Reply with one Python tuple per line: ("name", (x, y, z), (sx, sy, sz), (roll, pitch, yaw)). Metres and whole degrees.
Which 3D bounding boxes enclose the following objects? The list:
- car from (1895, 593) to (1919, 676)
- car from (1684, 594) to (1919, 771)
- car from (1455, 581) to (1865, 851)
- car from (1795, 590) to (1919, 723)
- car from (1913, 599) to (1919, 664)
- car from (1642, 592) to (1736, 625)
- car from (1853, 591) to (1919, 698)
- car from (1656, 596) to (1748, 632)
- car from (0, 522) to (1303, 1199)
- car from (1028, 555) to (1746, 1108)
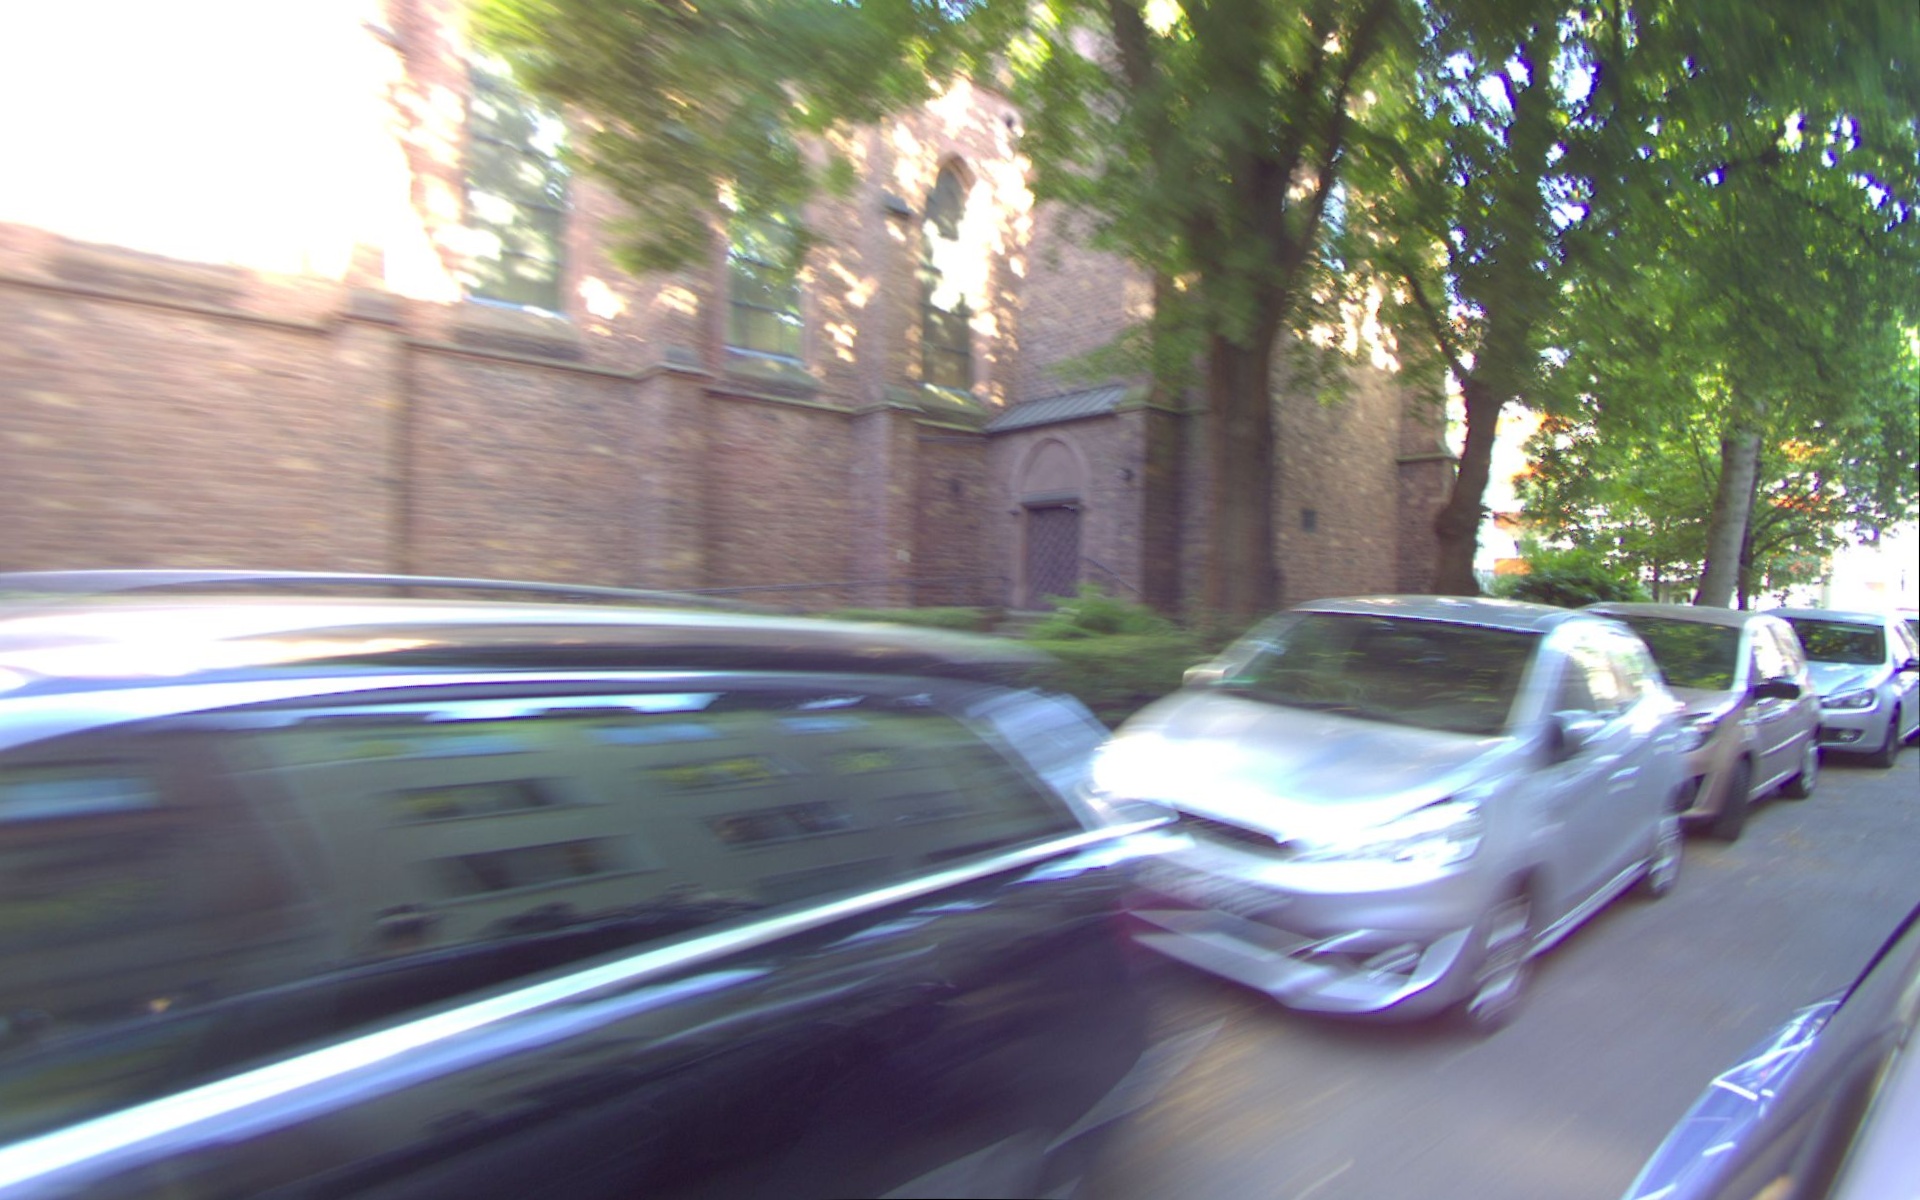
("car", (20.193, 0.713, 20.307), (3.884, 1.537, 1.668), (-1, 6, -42))
("car", (9.313, 0.725, 10.829), (3.800, 1.488, 1.603), (-1, 3, -40))
("car", (5.437, 0.667, 7.728), (3.500, 1.485, 1.604), (-1, 5, -40))
("car", (13.031, 0.702, 13.947), (3.654, 1.523, 1.604), (-1, 5, -40))
("car", (23.871, 0.743, 23.700), (3.988, 1.537, 1.669), (0, 5, -39))
("car", (37.486, 0.408, 52.089), (1.621, 1.577, 3.692), (-3, 2, -40))
("car", (16.657, 0.730, 17.009), (4.026, 1.604, 1.670), (0, 5, -38))
("car", (32.815, 0.605, 44.923), (1.756, 1.449, 4.396), (-1, 1, 14))
("car", (-1.425, 0.647, 1.483), (4.619, 1.458, 1.678), (-1, 6, -44))
("car", (2.171, 0.635, 4.703), (3.565, 1.523, 1.603), (-1, 6, -41))
